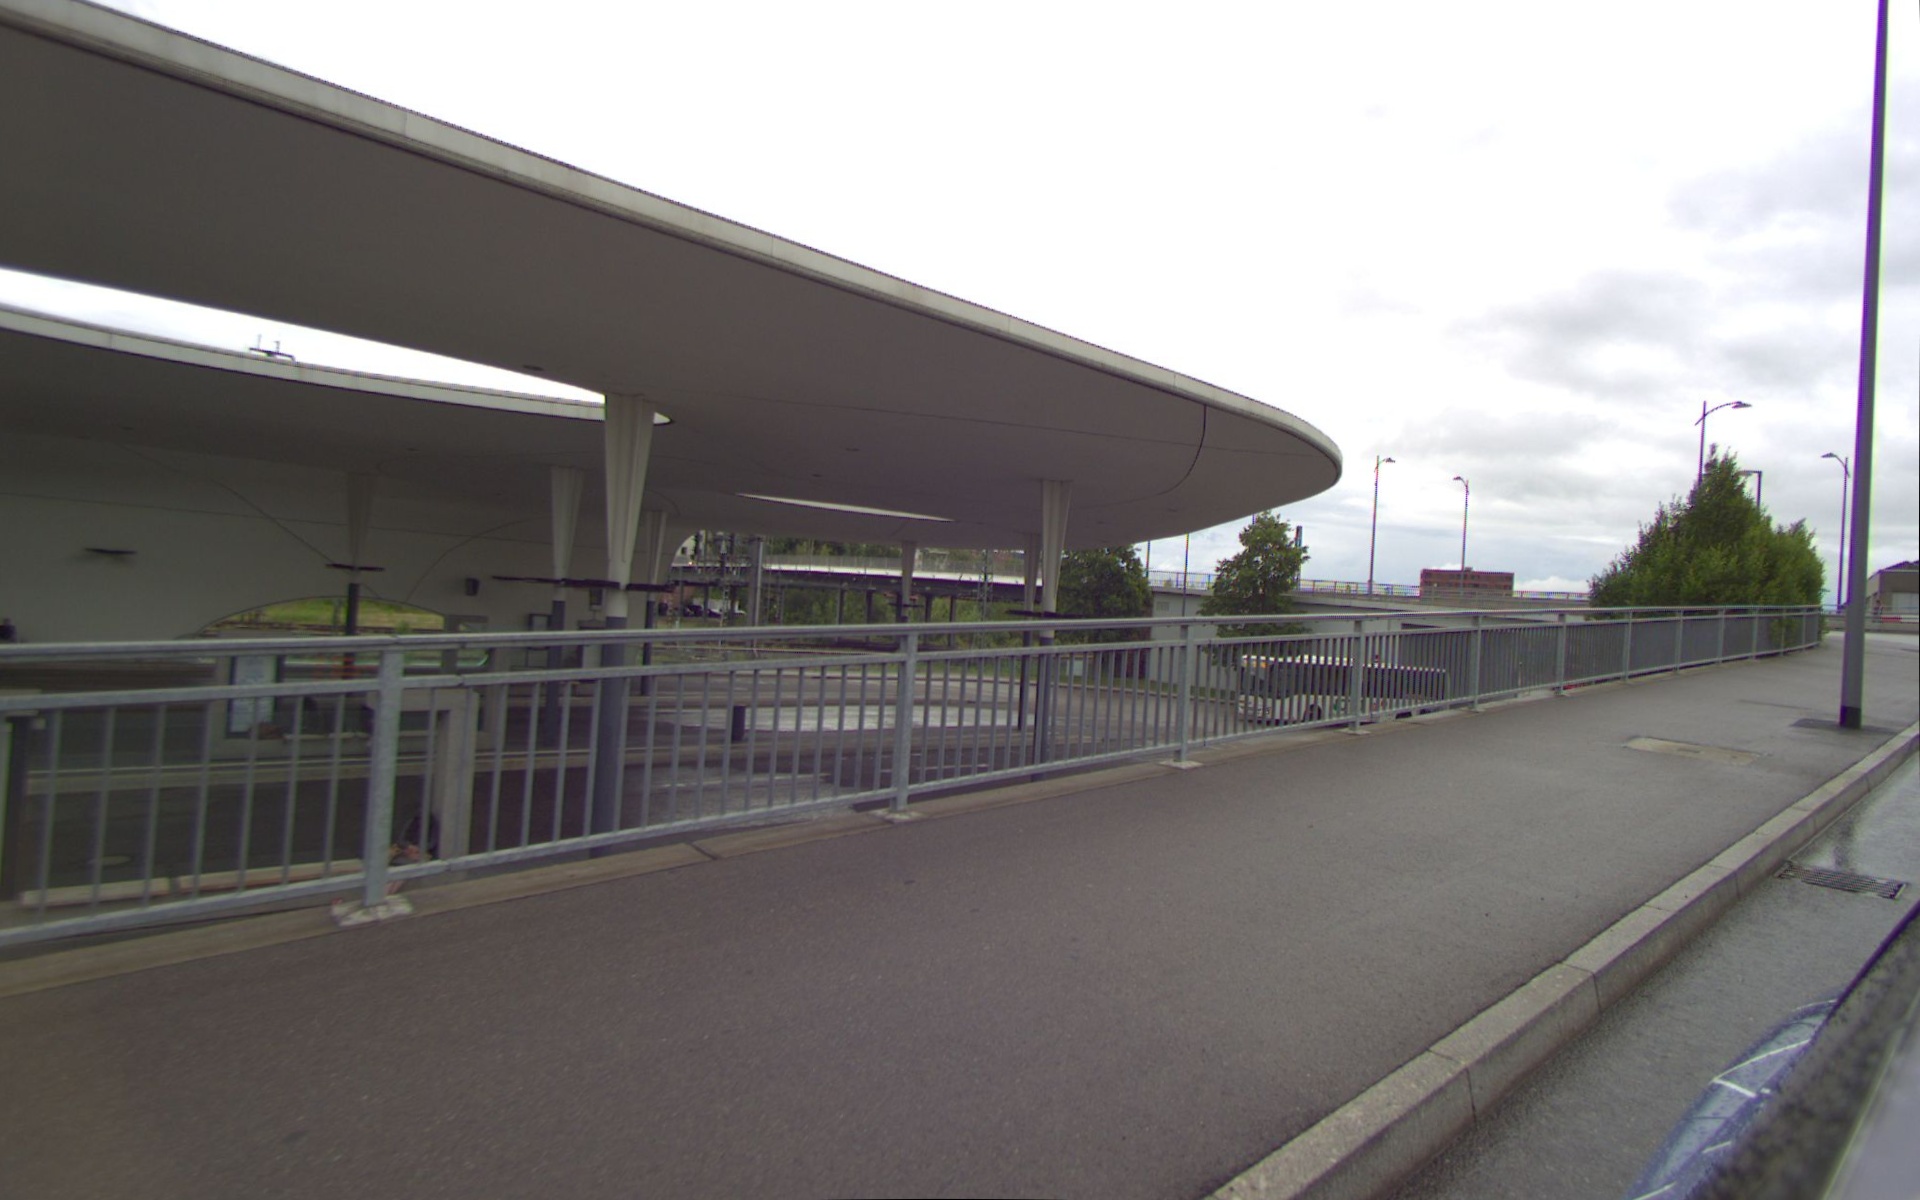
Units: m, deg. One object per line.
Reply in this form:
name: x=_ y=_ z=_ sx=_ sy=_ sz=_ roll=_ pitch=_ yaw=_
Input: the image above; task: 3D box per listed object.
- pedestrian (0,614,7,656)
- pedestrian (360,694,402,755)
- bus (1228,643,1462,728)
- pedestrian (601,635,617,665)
pedestrian: x=-30.988 y=1.129 z=32.317 sx=0.698 sy=1.341 sz=0.801 roll=-1 pitch=0 yaw=-35
pedestrian: x=-12.242 y=2.620 z=21.415 sx=0.659 sy=1.178 sz=0.535 roll=-1 pitch=0 yaw=-44
bus: x=18.606 y=3.956 z=48.565 sx=11.889 sy=3.298 sz=2.802 roll=-1 pitch=0 yaw=-24
pedestrian: x=-15.785 y=2.240 z=45.489 sx=0.536 sy=1.296 sz=0.568 roll=0 pitch=0 yaw=-38
